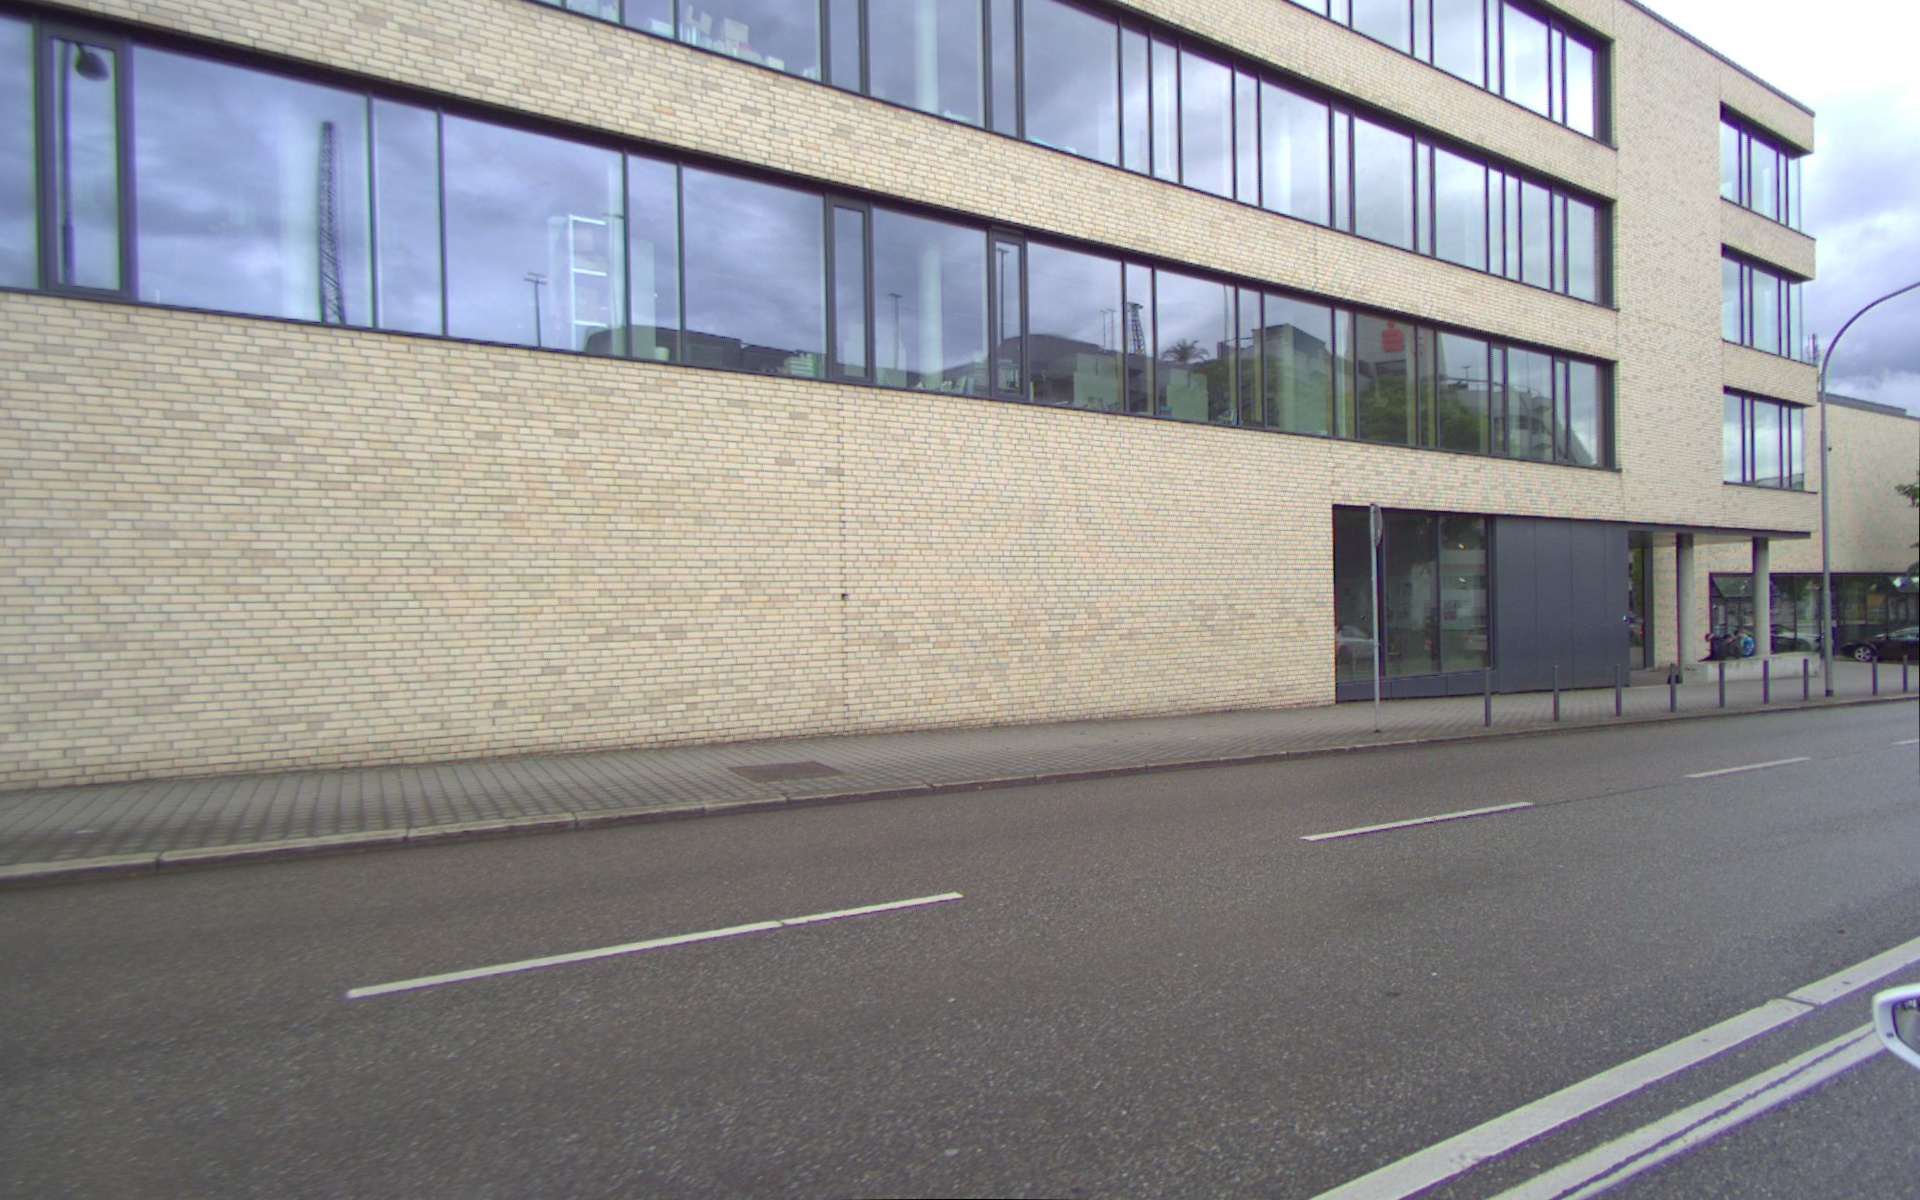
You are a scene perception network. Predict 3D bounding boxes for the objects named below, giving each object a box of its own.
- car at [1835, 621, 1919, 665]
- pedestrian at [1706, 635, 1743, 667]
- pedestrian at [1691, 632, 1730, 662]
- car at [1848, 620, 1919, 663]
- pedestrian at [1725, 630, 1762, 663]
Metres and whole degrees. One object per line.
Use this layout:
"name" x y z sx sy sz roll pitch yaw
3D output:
"car" 36.595 1.648 38.368 1.980 1.608 4.438 1 0 -35
"pedestrian" 21.511 1.436 28.277 0.719 0.856 0.584 2 -1 -29
"pedestrian" 20.804 1.309 27.855 0.751 0.796 0.595 2 0 -29
"car" 38.298 1.663 39.728 1.979 1.595 4.389 -1 1 -34
"pedestrian" 22.546 1.331 28.903 0.518 0.897 0.678 2 1 -29
